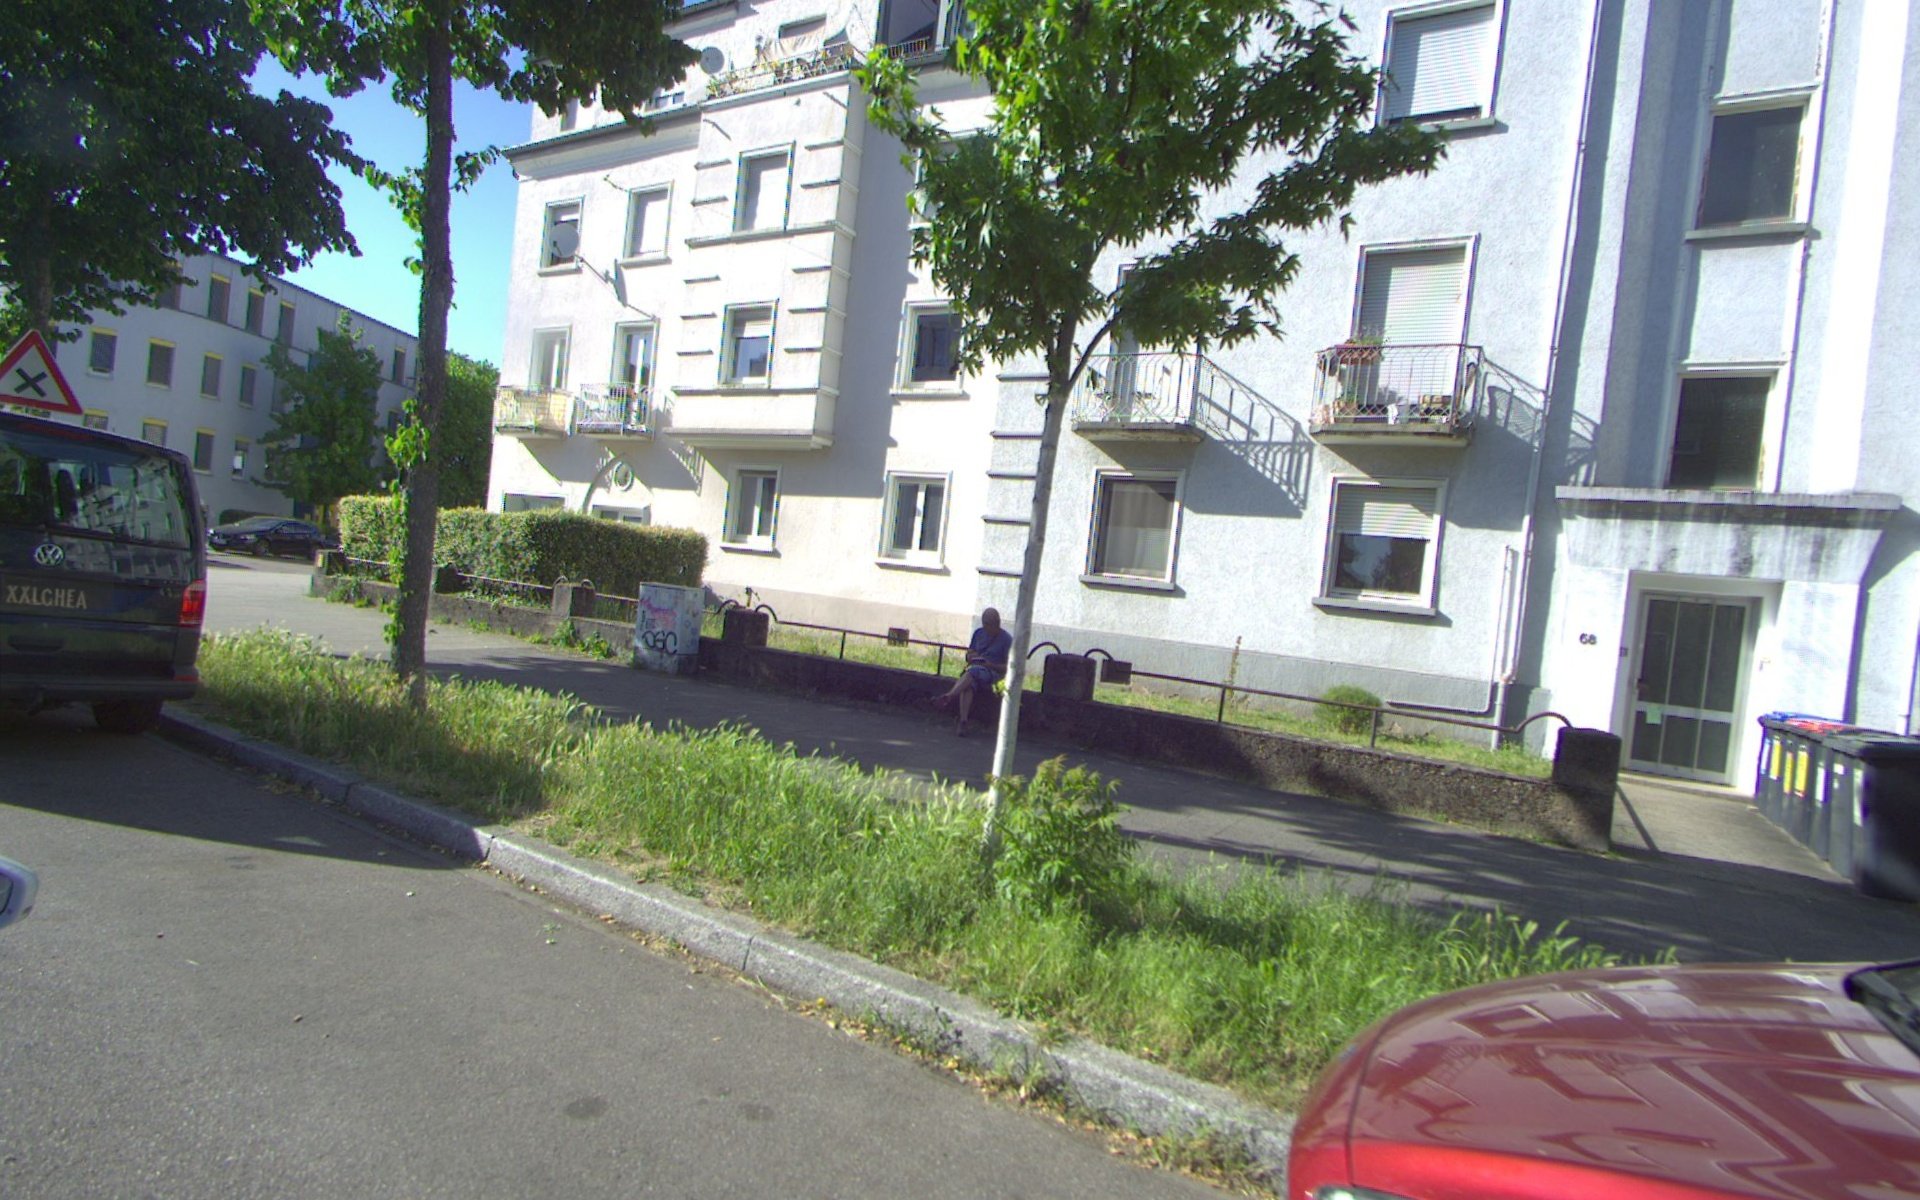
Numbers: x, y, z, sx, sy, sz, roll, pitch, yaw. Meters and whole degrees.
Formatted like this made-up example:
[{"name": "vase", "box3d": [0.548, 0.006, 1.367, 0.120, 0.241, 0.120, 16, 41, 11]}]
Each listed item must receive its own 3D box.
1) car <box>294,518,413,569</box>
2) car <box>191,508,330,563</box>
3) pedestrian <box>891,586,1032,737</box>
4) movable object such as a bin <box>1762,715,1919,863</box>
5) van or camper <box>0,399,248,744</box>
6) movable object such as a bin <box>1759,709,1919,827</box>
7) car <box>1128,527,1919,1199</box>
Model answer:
[{"name": "car", "box3d": [-24.792, -2.277, 41.319, 1.878, 1.496, 4.383, 7, -1, 4]}, {"name": "car", "box3d": [-25.229, -2.275, 36.488, 1.761, 1.427, 4.225, 7, 0, 4]}, {"name": "pedestrian", "box3d": [0.036, 0.610, 9.745, 0.805, 1.310, 1.084, 5, -2, 30]}, {"name": "movable object such as a bin", "box3d": [7.507, 1.574, 8.524, 0.994, 1.038, 0.776, 6, -2, 36]}, {"name": "van or camper", "box3d": [-7.452, -0.356, 7.023, 5.298, 1.884, 1.993, 6, -2, 32]}, {"name": "movable object such as a bin", "box3d": [8.018, 1.515, 9.212, 0.995, 0.872, 0.776, 6, -2, 37]}, {"name": "car", "box3d": [2.748, 1.005, 0.700, 4.892, 1.632, 1.901, 6, -1, 33]}]
